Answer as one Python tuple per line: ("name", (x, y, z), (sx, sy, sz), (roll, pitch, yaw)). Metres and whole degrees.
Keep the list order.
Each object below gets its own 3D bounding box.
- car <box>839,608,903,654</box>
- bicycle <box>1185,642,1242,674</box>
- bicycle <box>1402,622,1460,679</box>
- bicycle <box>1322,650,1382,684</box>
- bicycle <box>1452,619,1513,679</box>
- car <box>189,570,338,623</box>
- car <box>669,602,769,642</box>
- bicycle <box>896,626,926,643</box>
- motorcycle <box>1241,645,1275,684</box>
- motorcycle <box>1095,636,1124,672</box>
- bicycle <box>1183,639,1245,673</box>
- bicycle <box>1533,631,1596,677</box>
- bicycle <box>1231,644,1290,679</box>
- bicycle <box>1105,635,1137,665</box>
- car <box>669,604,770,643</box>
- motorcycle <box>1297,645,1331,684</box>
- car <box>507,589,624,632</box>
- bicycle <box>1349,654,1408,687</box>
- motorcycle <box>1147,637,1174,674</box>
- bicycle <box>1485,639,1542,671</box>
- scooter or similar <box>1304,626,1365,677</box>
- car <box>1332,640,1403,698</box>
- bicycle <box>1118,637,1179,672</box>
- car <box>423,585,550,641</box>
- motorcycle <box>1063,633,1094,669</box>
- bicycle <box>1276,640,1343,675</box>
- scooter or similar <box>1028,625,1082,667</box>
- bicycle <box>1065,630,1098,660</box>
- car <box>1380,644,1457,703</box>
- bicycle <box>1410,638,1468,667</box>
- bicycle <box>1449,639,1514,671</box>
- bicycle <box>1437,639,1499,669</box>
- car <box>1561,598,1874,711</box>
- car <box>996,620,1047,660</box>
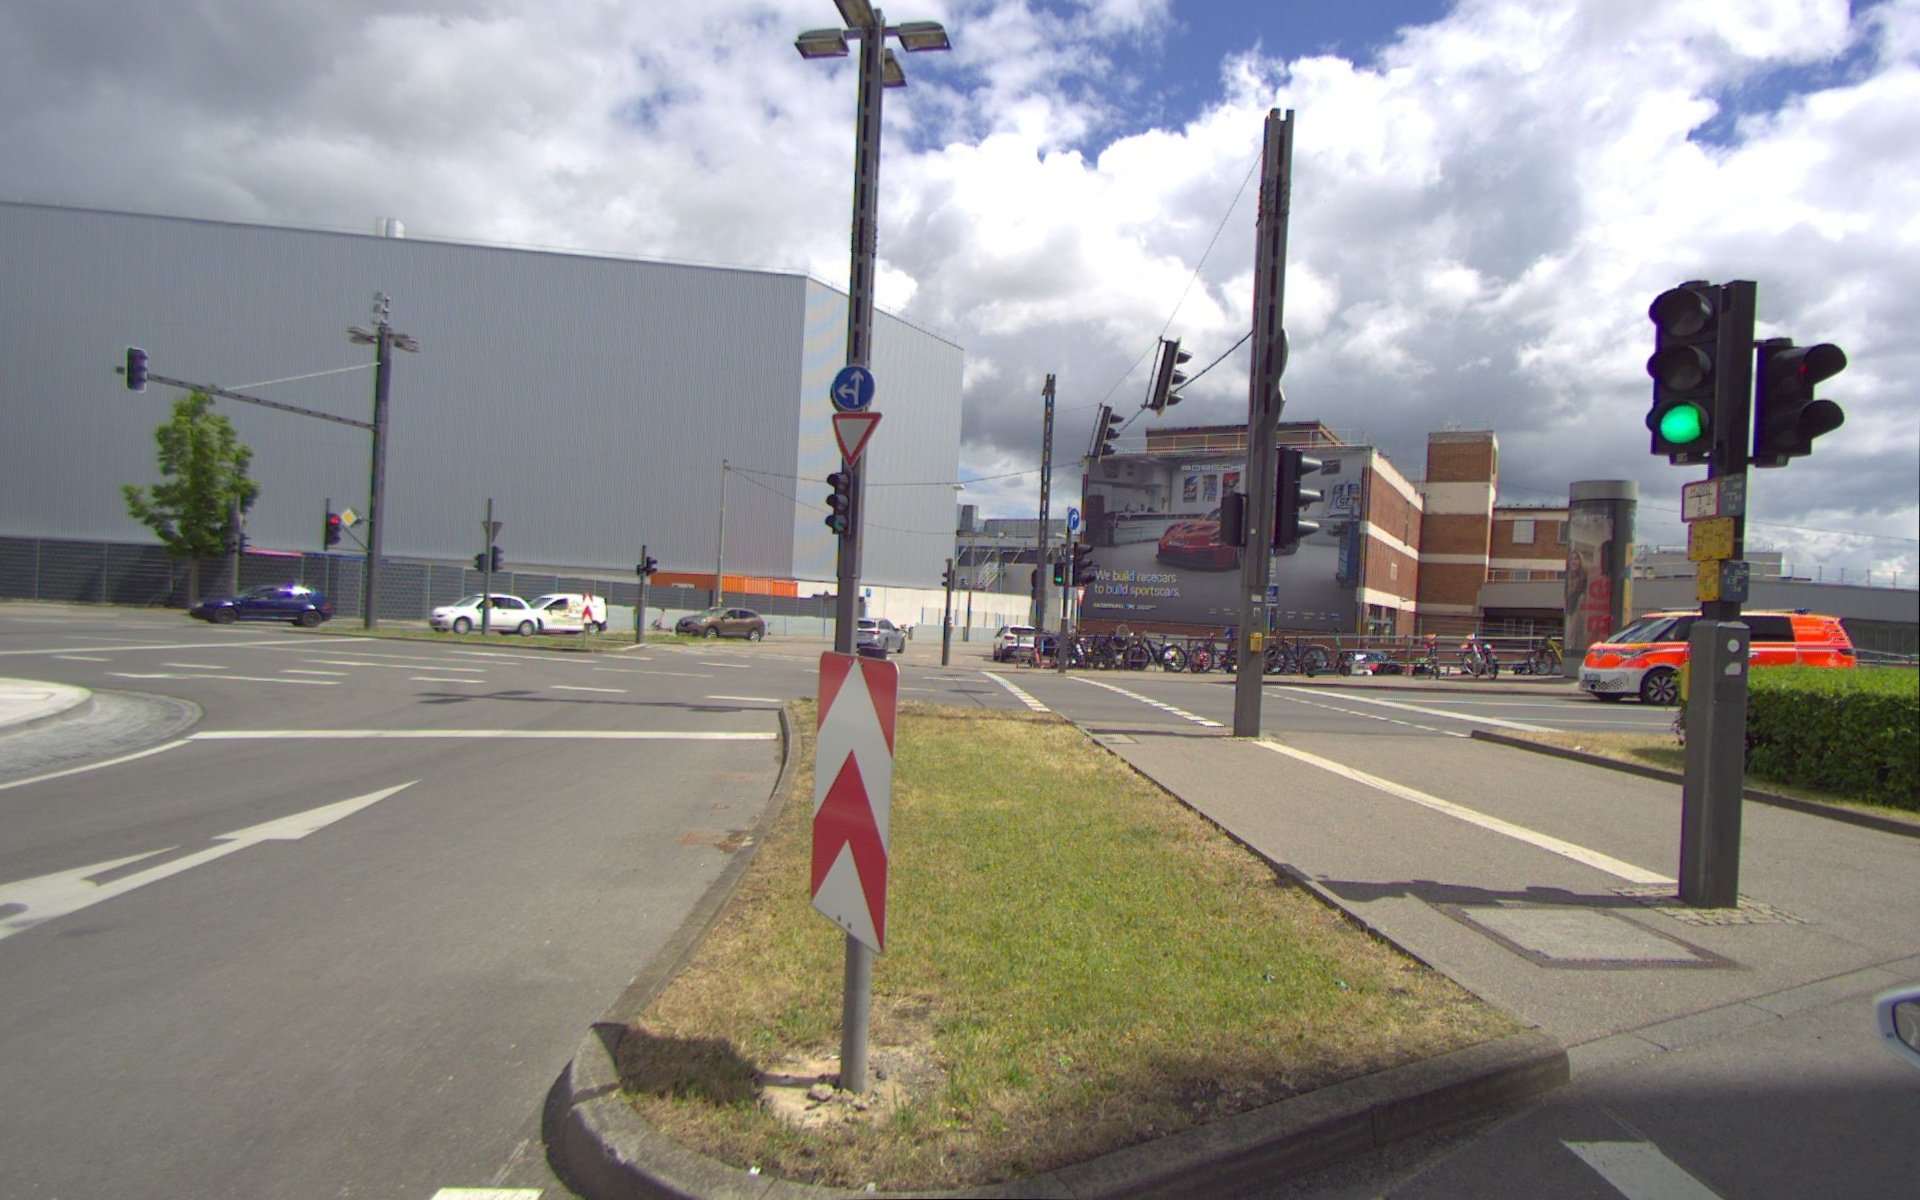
("car", (-3.712, 1.270, 42.575), (1.960, 1.598, 4.001), (4, 1, 5))
("bicycle", (7.640, 1.738, 30.317), (1.584, 0.878, 0.491), (1, 0, 36))
("bicycle", (12.169, 1.296, 26.015), (0.484, 1.334, 1.609), (4, 1, -7))
("bicycle", (11.875, 2.028, 30.441), (1.581, 0.878, 0.492), (4, 1, -5))
("bicycle", (13.583, 1.257, 26.160), (0.484, 1.401, 1.609), (4, 1, -7))
("car", (-24.264, -0.098, 35.071), (1.777, 1.577, 3.938), (5, 1, 41))
("car", (-10.823, 0.990, 45.334), (1.795, 1.577, 4.211), (5, 1, 35))
("bicycle", (-3.906, 2.724, 79.659), (2.306, 1.222, 0.446), (4, 1, -18))
("motorcycle", (11.432, 2.450, 38.640), (0.901, 1.211, 2.914), (4, 1, 11))
("motorcycle", (5.984, 2.124, 40.065), (0.901, 1.211, 2.914), (4, 1, 11))
("bicycle", (6.852, 1.504, 27.123), (1.579, 0.878, 0.492), (0, 0, 21))
("bicycle", (15.953, 1.414, 26.551), (0.484, 1.070, 1.609), (4, 1, -7))
("bicycle", (9.035, 1.827, 30.179), (1.582, 0.878, 0.492), (5, 1, 29))
("bicycle", (5.063, 1.554, 31.516), (0.483, 0.878, 1.609), (5, 1, 27))
("car", (-10.803, 1.080, 45.348), (1.783, 1.565, 4.224), (5, 1, 35))
("motorcycle", (13.205, 2.370, 37.553), (0.902, 1.211, 2.914), (4, 1, 15))
("car", (-17.090, 0.488, 43.665), (1.968, 1.645, 4.276), (5, 1, 36))
("bicycle", (12.330, 2.077, 29.589), (1.585, 0.878, 0.491), (4, 1, -16))
("motorcycle", (7.900, 2.161, 39.594), (0.901, 1.211, 2.914), (4, 1, 11))
("bicycle", (16.808, 1.661, 30.505), (1.583, 0.878, 0.491), (-1, 1, -14))
("scooter or similar", (9.606, 1.317, 25.765), (1.364, 1.248, 0.494), (0, 2, -8))
("car", (15.256, 2.548, 37.785), (1.597, 1.809, 3.485), (4, 1, 9))
("bicycle", (5.228, 1.498, 27.939), (1.584, 0.878, 0.491), (1, 0, 34))
("car", (-17.432, 0.498, 37.109), (1.881, 1.820, 3.761), (5, 1, 37))
("motorcycle", (4.764, 2.024, 40.289), (0.901, 1.211, 2.914), (4, 1, 11))
("bicycle", (9.267, 1.516, 26.660), (1.578, 0.878, 0.493), (1, 0, 4))
("scooter or similar", (2.803, 1.353, 29.735), (1.607, 1.197, 0.500), (-2, -2, 39))
("bicycle", (3.898, 1.418, 32.147), (0.483, 0.878, 1.609), (5, 1, 27))
("car", (17.290, 2.730, 38.012), (1.670, 1.828, 3.485), (4, 1, 9))
("bicycle", (14.616, 1.599, 30.660), (1.581, 0.878, 0.492), (1, 0, -9))
("bicycle", (15.055, 1.584, 29.019), (1.578, 0.878, 0.493), (0, -1, 6))
("bicycle", (15.050, 1.589, 29.797), (1.578, 0.878, 0.493), (0, -1, 4))
("car", (15.203, 1.062, 20.387), (4.740, 2.010, 2.001), (2, -1, 3))
("car", (2.562, 1.672, 42.562), (1.751, 1.368, 3.353), (4, 1, -3))
